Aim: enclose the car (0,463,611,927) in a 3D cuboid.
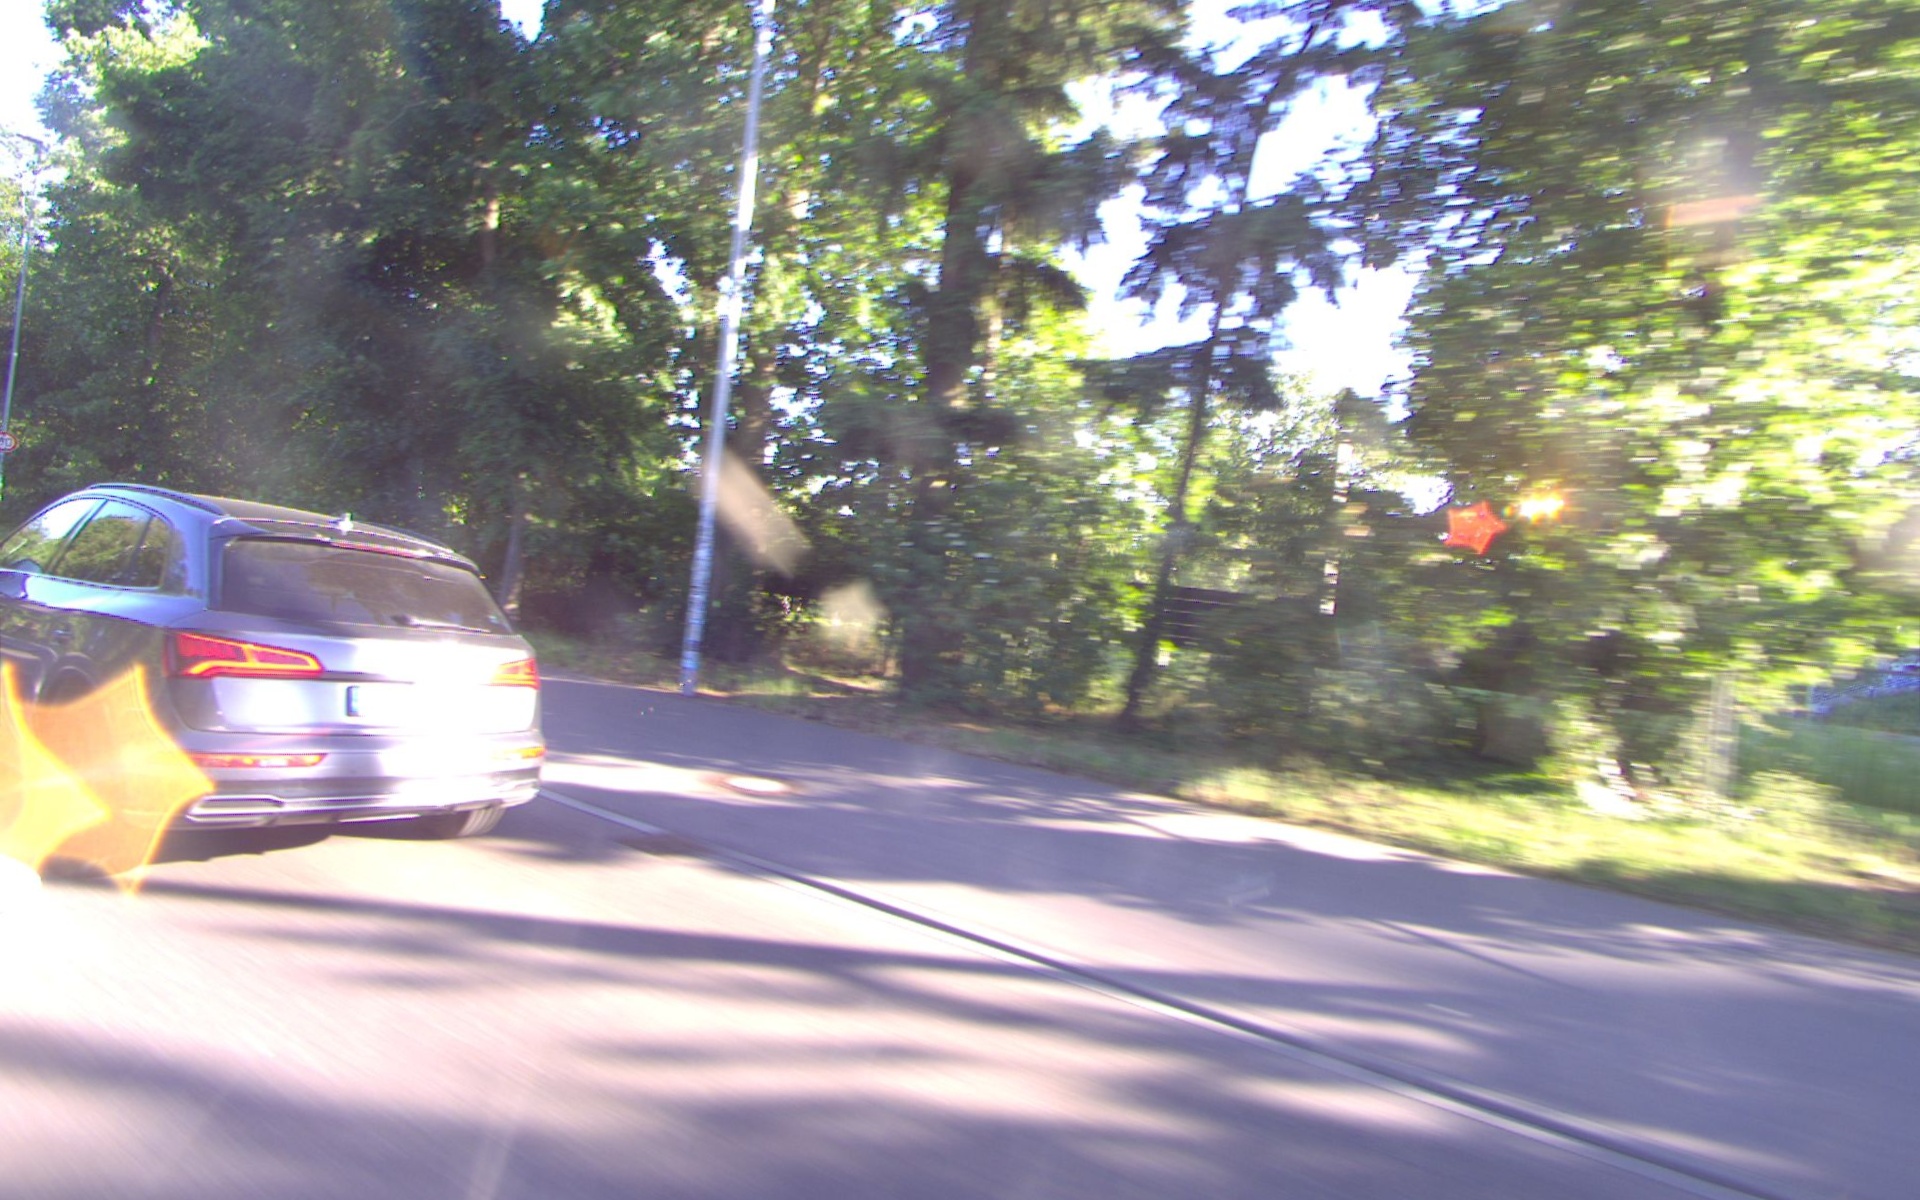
[{"bbox_3d":[-4.274,0.241,5.629,4.470,1.624,1.896,7,-2,33],"label":"car"}]
